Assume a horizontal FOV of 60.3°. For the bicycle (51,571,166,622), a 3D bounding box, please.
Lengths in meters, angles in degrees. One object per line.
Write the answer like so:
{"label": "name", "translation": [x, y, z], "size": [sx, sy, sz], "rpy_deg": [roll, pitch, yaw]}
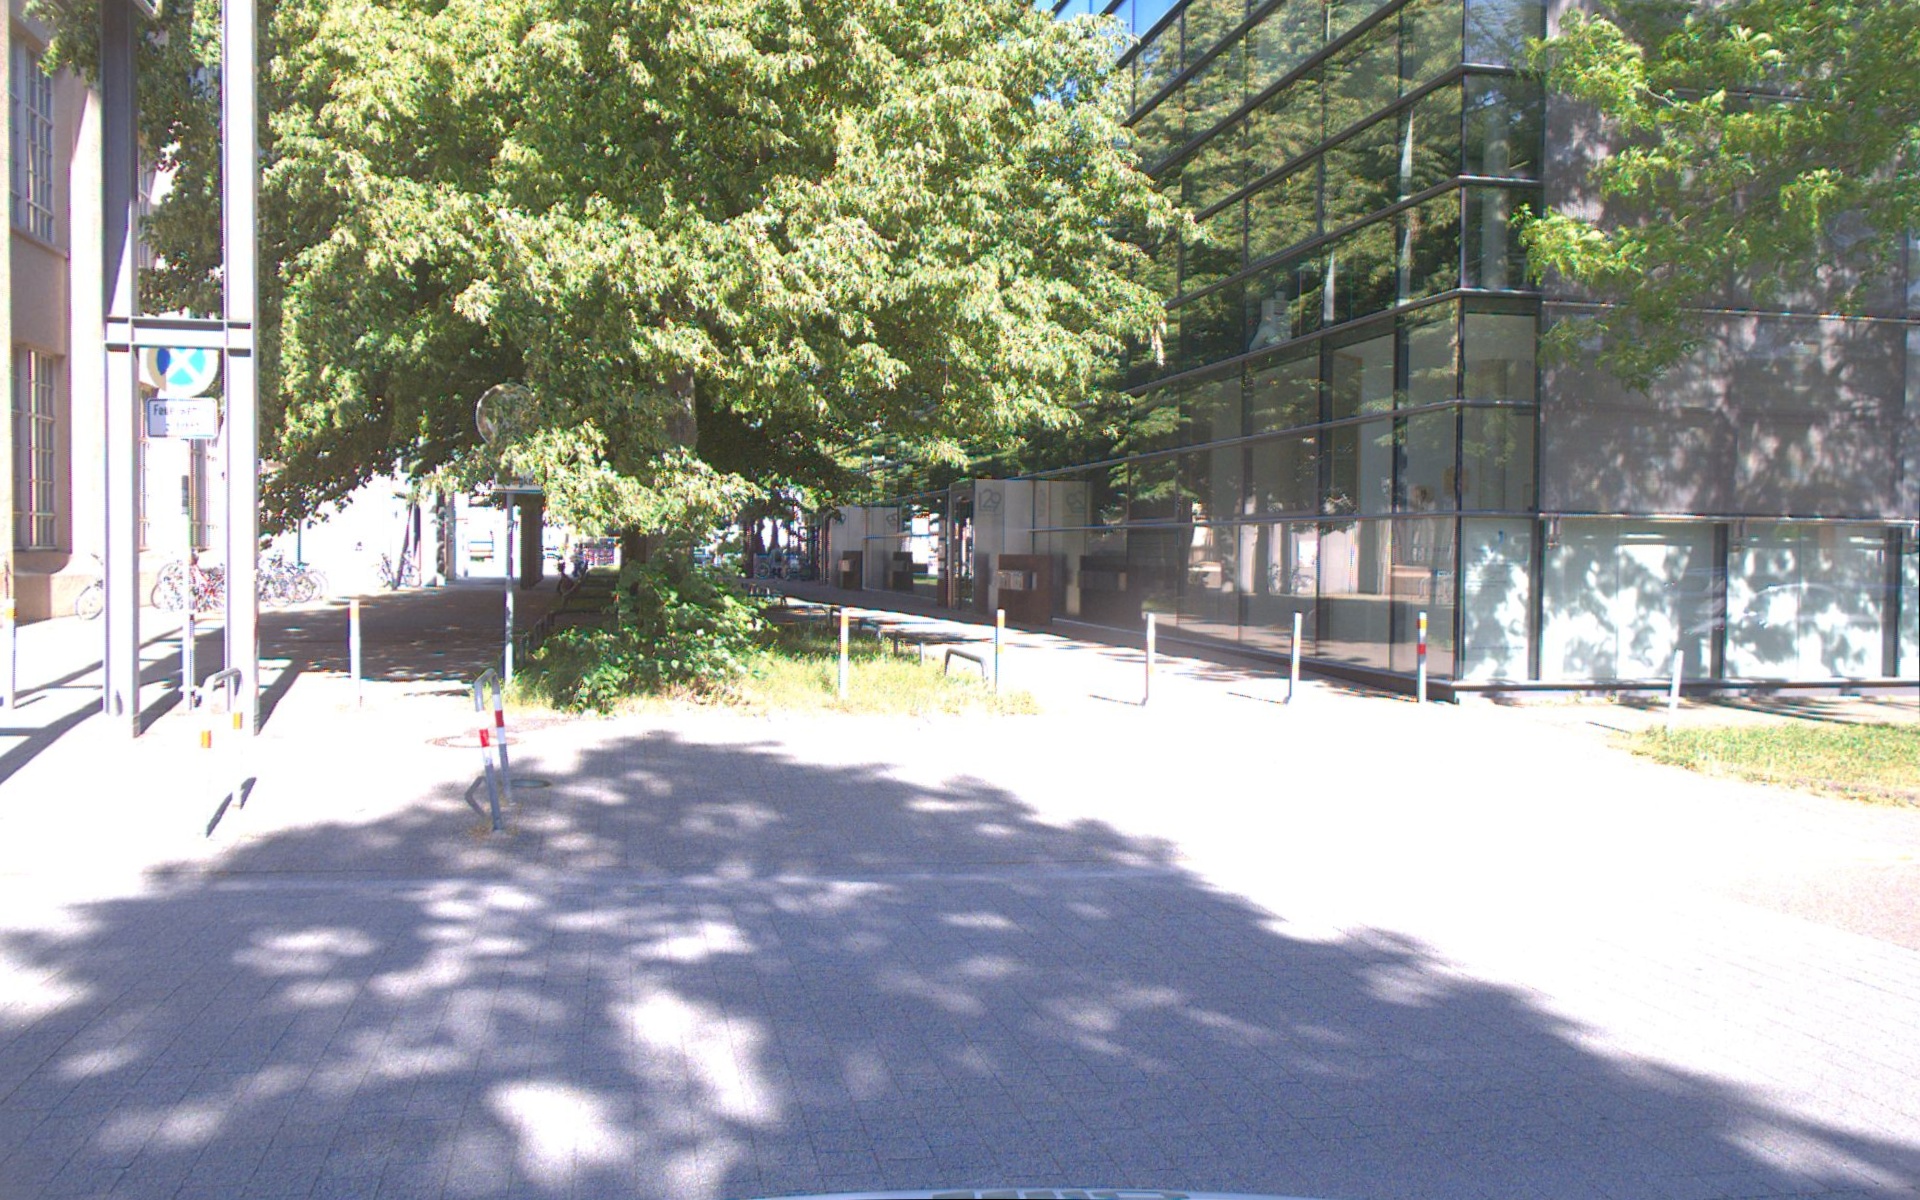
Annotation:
{"label": "bicycle", "translation": [-15.218, -0.077, 29.657], "size": [0.763, 0.806, 2.882], "rpy_deg": [1, 2, -4]}

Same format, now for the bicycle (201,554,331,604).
{"label": "bicycle", "translation": [-16.392, -0.500, 39.148], "size": [2.755, 1.170, 0.715], "rpy_deg": [0, 2, -17]}

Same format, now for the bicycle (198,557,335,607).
{"label": "bicycle", "translation": [-15.486, -0.397, 37.004], "size": [2.755, 1.081, 0.715], "rpy_deg": [0, 2, -17]}

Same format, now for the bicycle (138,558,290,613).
{"label": "bicycle", "translation": [-15.346, -0.301, 34.092], "size": [2.751, 1.081, 0.717], "rpy_deg": [0, 2, -12]}

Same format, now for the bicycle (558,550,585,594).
{"label": "bicycle", "translation": [-11.150, -0.802, 47.435], "size": [0.609, 1.217, 2.122], "rpy_deg": [0, 2, -17]}

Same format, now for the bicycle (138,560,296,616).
{"label": "bicycle", "translation": [-14.640, -0.241, 32.659], "size": [2.755, 1.081, 0.715], "rpy_deg": [0, 2, -17]}

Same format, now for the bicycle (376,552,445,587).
{"label": "bicycle", "translation": [-17.506, -0.973, 52.749], "size": [2.020, 1.085, 0.505], "rpy_deg": [0, 2, -10]}

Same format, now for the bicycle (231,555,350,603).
{"label": "bicycle", "translation": [-16.750, -0.520, 41.424], "size": [2.687, 1.170, 0.715], "rpy_deg": [0, 2, -17]}

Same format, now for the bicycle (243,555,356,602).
{"label": "bicycle", "translation": [-17.227, -0.562, 43.212], "size": [2.687, 1.170, 0.715], "rpy_deg": [0, 2, -17]}

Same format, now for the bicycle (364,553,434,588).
{"label": "bicycle", "translation": [-17.631, -0.920, 51.989], "size": [2.020, 1.085, 0.505], "rpy_deg": [0, 2, -10]}

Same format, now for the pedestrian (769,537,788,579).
{"label": "pedestrian", "translation": [-6.891, -1.595, 62.967], "size": [0.703, 1.577, 0.689], "rpy_deg": [0, 2, -6]}

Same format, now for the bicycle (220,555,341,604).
{"label": "bicycle", "translation": [-16.673, -0.513, 40.635], "size": [2.687, 1.170, 0.715], "rpy_deg": [0, 2, -17]}
